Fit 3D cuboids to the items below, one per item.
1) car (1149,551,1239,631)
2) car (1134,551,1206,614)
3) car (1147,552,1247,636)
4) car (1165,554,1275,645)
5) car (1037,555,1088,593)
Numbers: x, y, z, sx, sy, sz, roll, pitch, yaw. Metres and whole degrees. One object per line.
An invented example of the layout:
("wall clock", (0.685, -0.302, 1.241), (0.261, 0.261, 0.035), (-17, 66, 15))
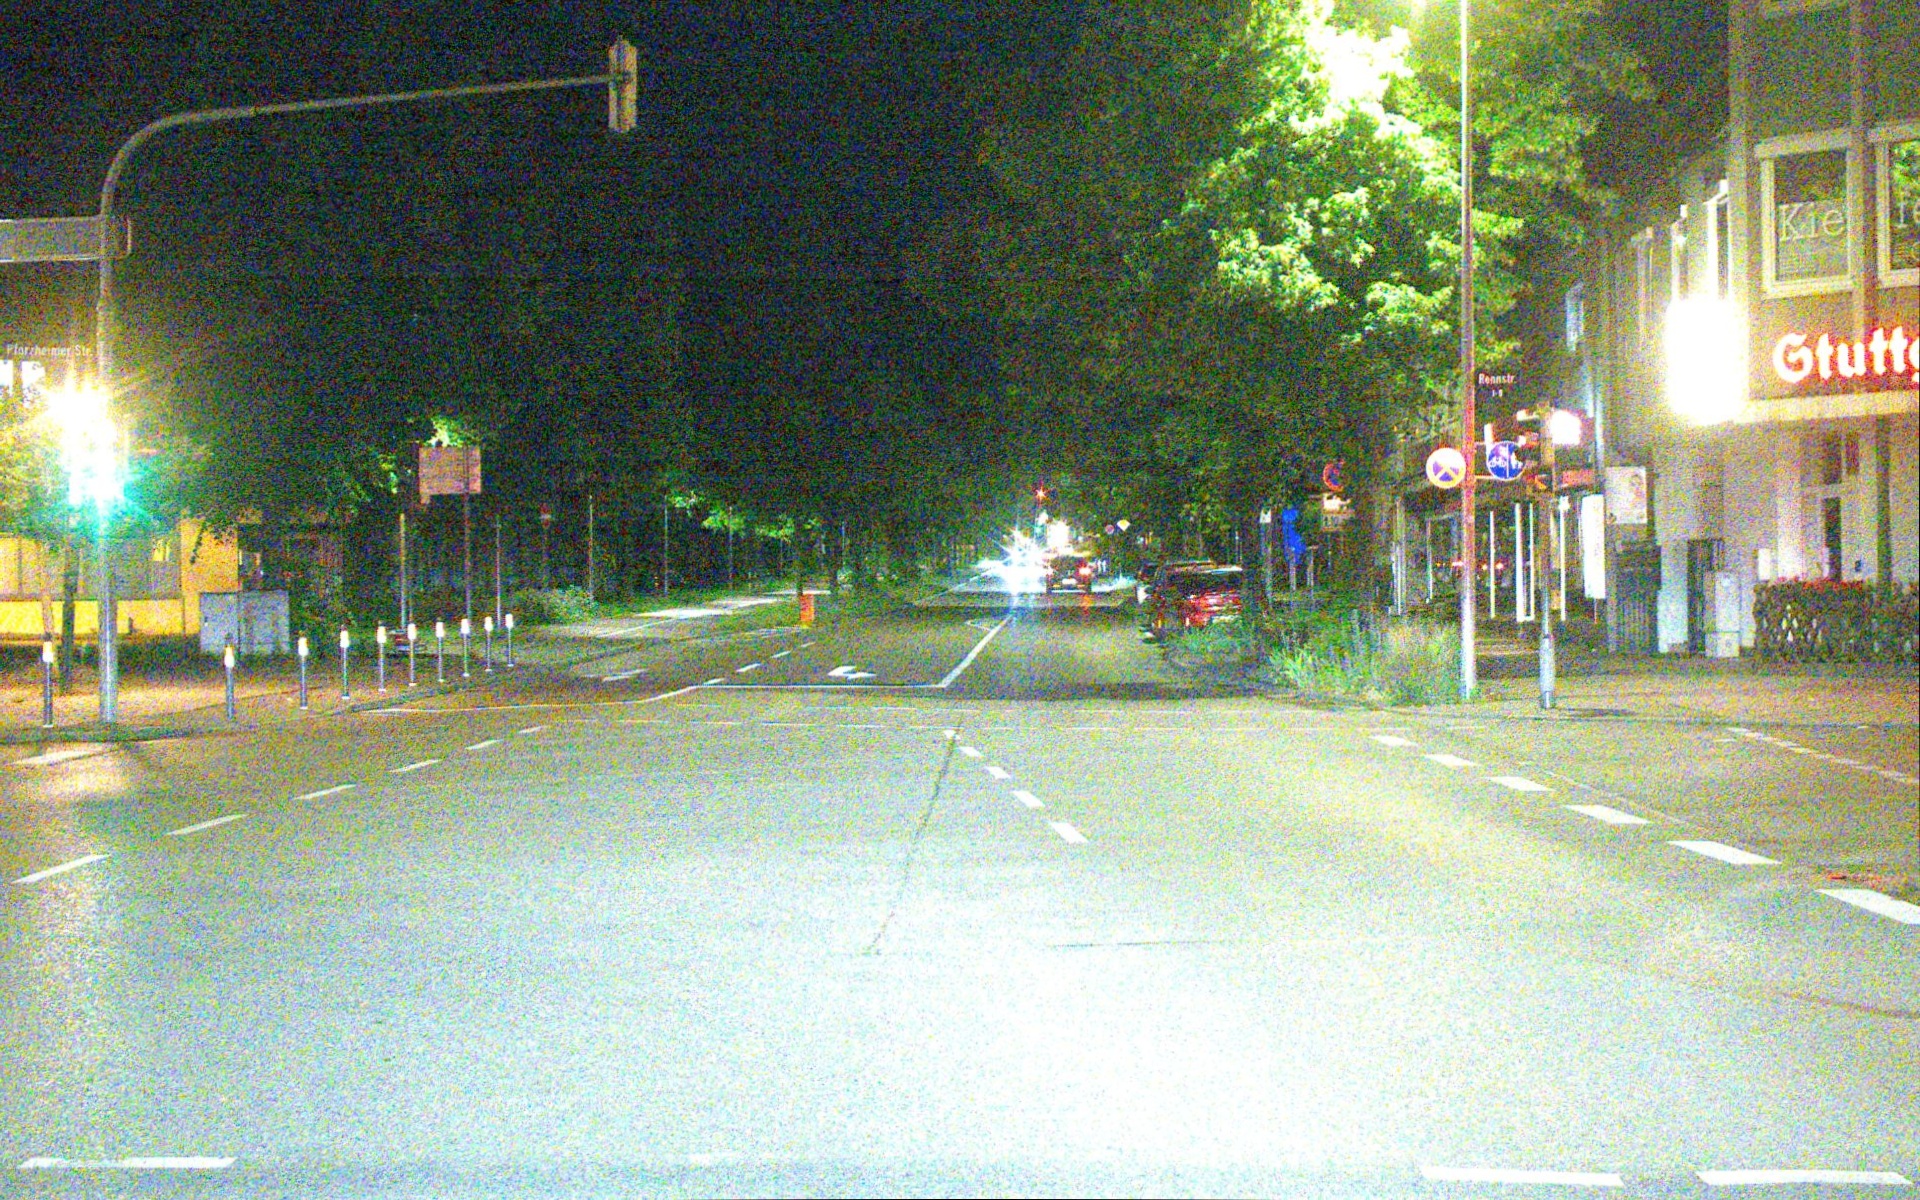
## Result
("car", (5.170, -0.207, 76.456), (1.876, 1.723, 4.000), (0, 0, 2))
("car", (5.757, -0.488, 94.468), (1.876, 1.678, 4.000), (0, 0, 2))
("car", (4.710, -0.139, 68.785), (1.876, 1.610, 4.000), (0, 0, 2))
("car", (4.781, -0.032, 63.679), (1.876, 1.610, 4.000), (0, 0, 2))
("car", (4.019, -1.020, 135.522), (1.873, 1.449, 4.316), (1, 0, 0))
